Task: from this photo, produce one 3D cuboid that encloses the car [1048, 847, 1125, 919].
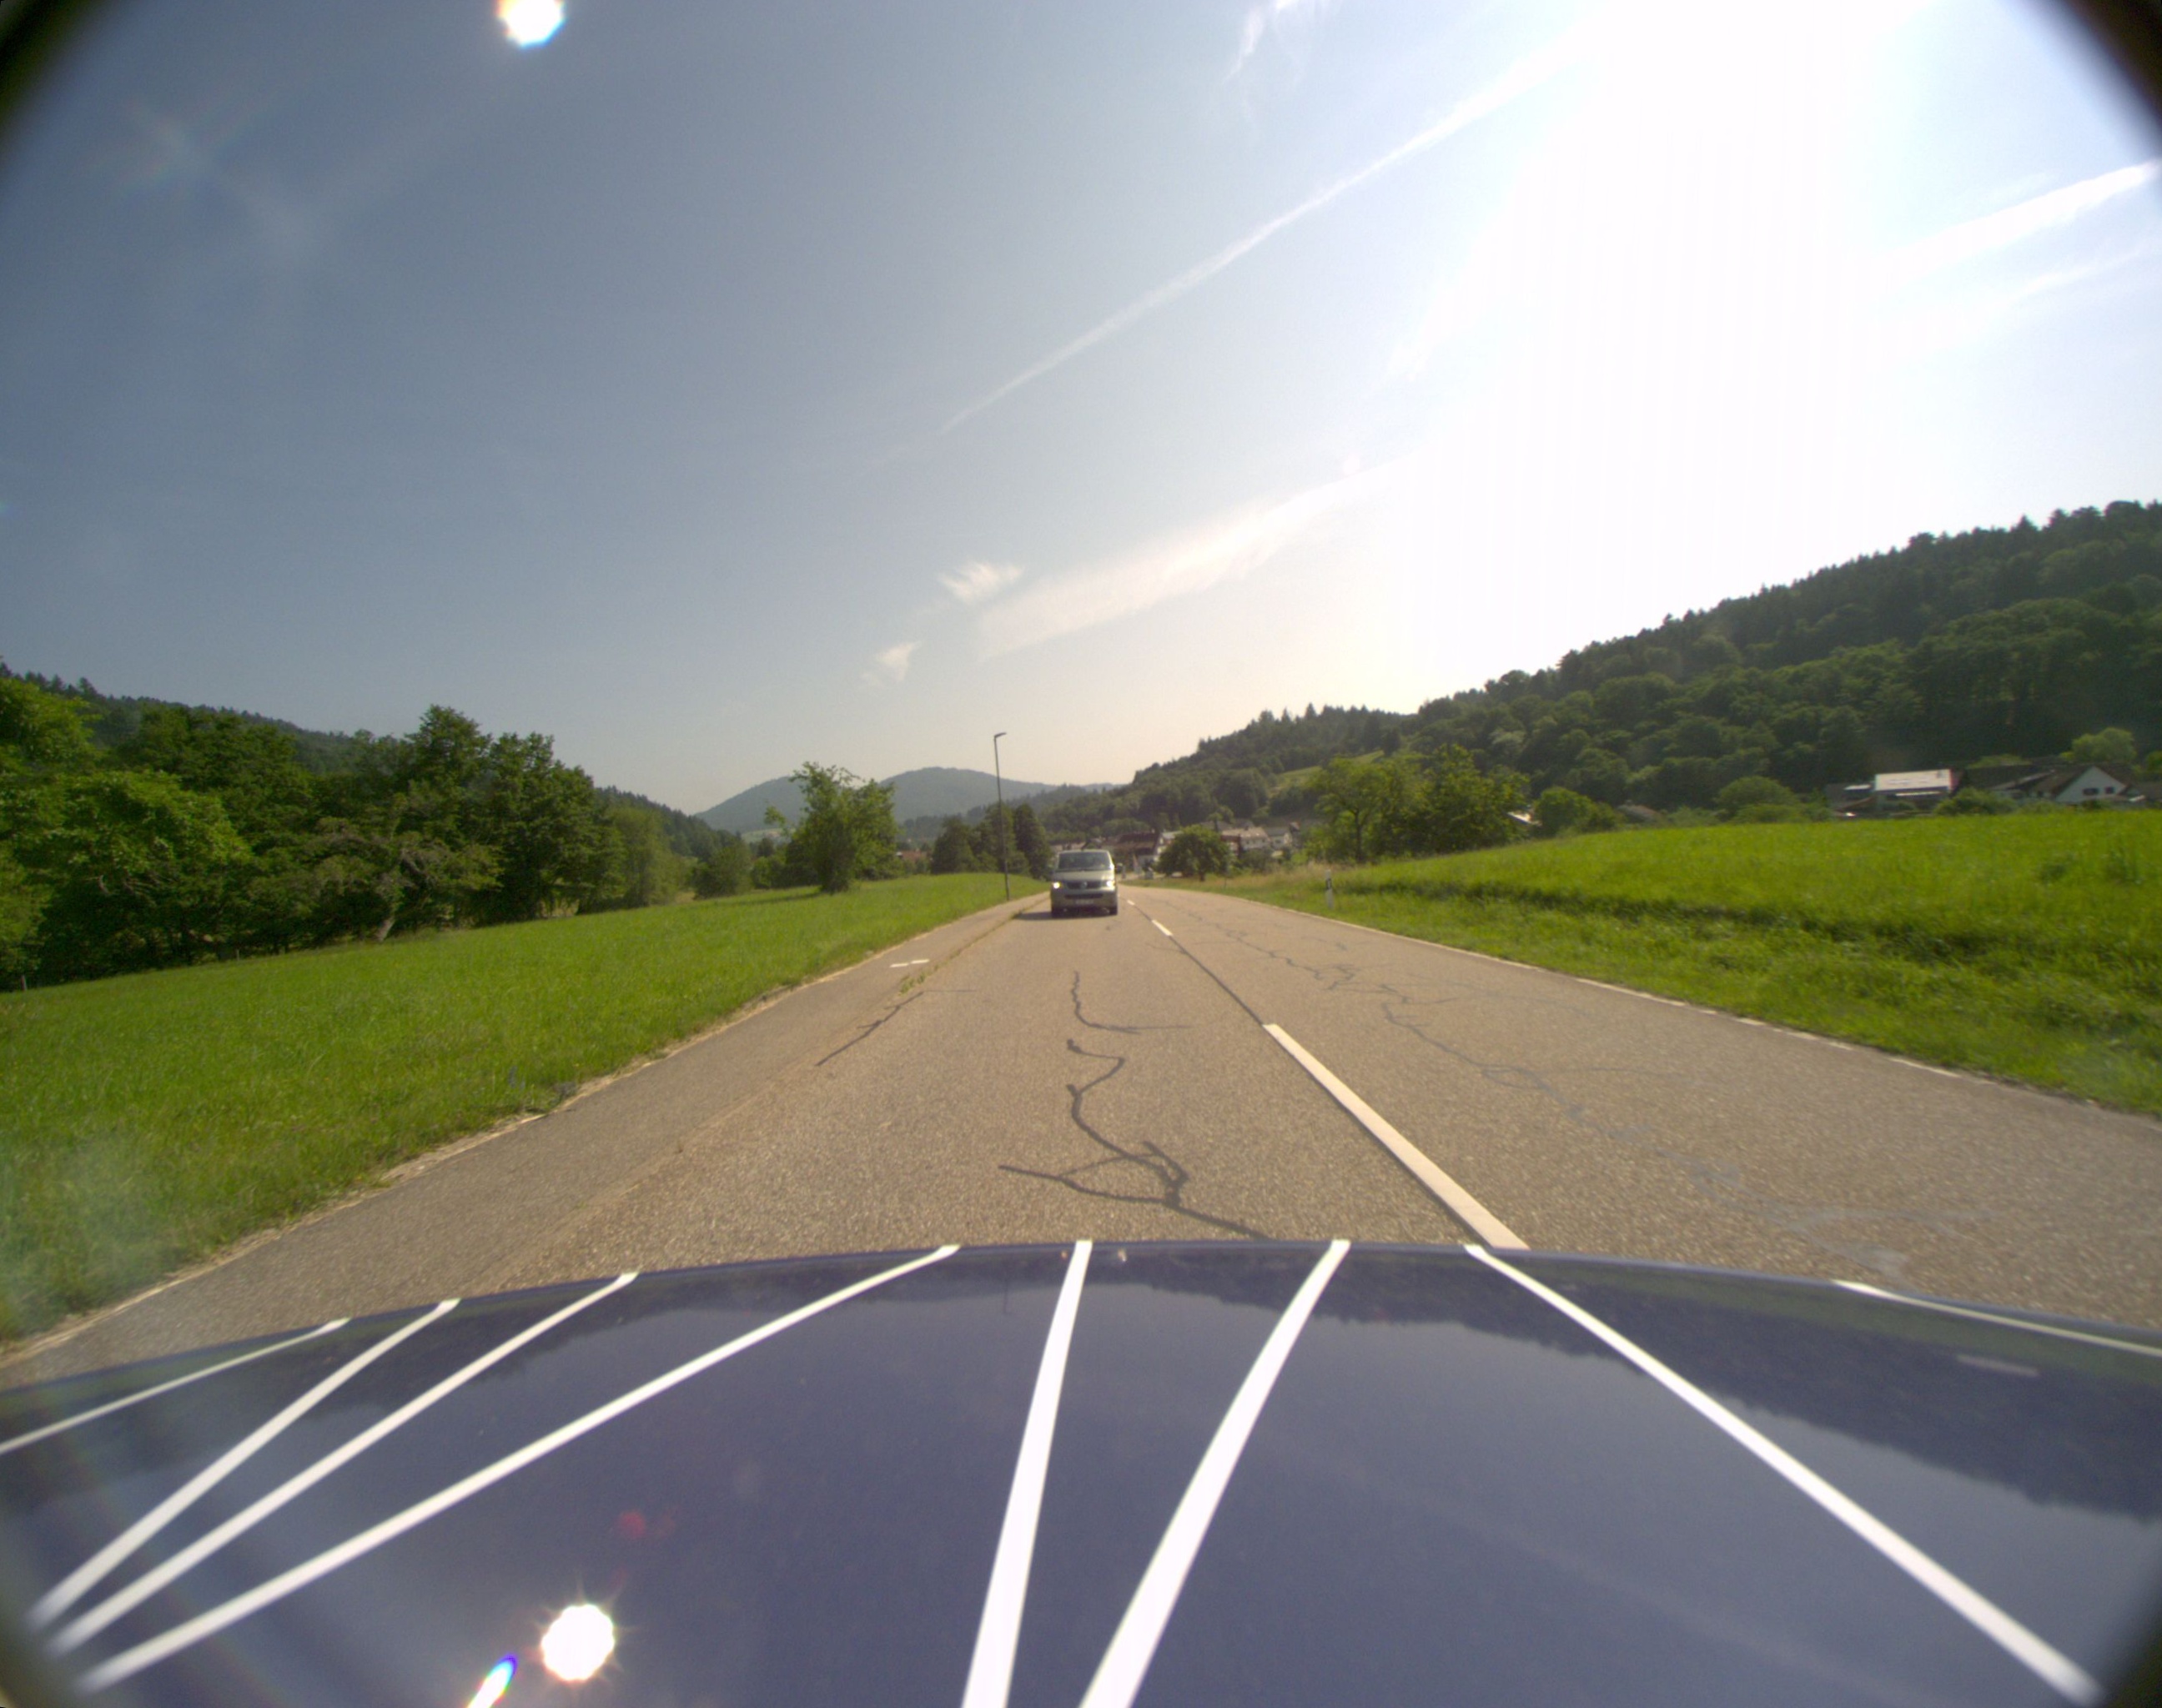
[{"bbox_3d":[0.288,0.860,24.341,2.023,1.970,5.051,-3,-1,4],"label":"car"}]
